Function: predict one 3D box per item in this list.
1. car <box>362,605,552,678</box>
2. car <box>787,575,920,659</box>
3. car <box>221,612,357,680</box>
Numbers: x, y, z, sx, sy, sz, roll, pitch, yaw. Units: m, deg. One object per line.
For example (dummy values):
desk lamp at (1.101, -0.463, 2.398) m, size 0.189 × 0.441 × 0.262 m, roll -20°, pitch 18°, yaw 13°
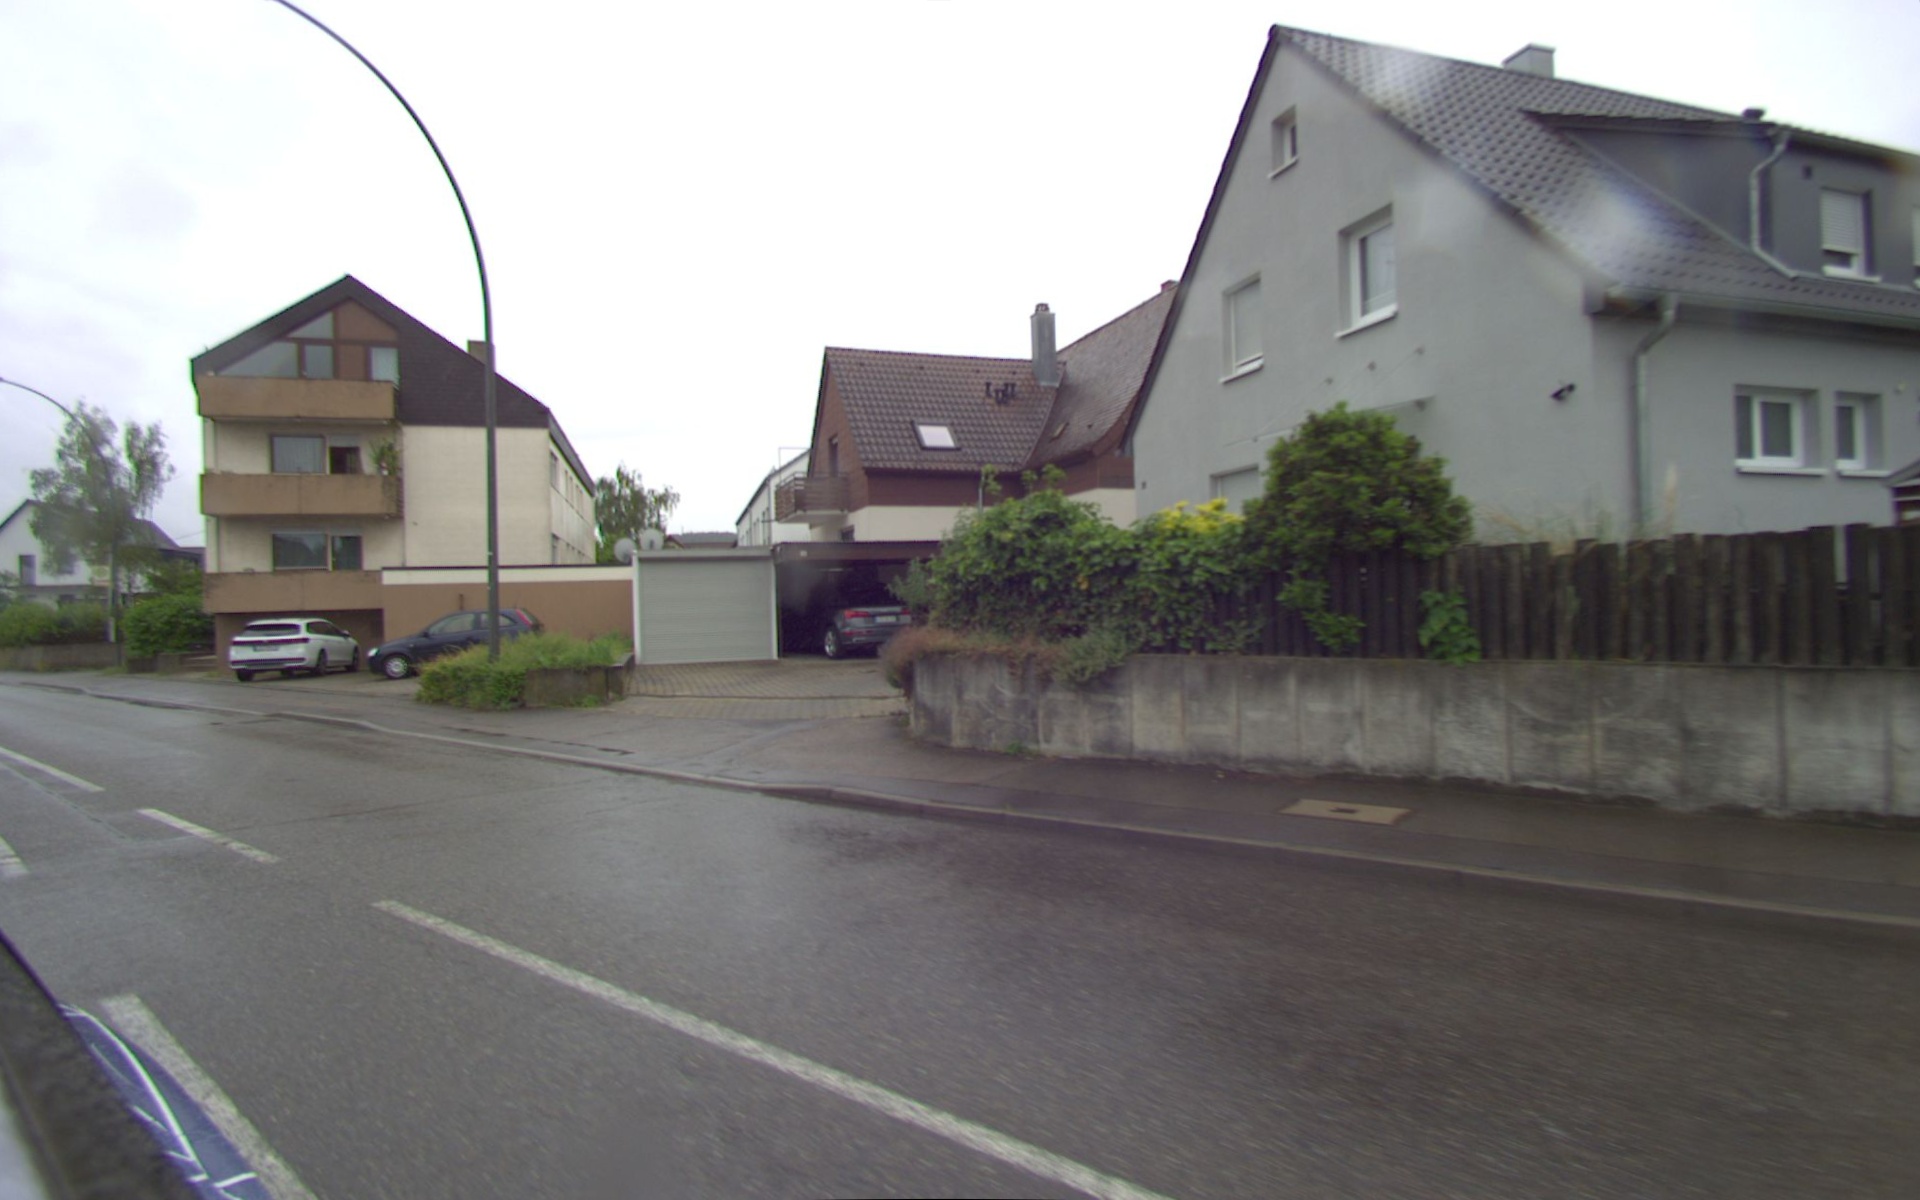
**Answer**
car at (-11.395, 0.907, 23.172) m, size 3.609 × 1.530 × 1.759 m, roll -1°, pitch 0°, yaw -15°
car at (-2.504, 0.301, 22.921) m, size 1.808 × 1.686 × 3.875 m, roll -1°, pitch 2°, yaw -25°
car at (-16.919, 1.094, 25.746) m, size 1.837 × 1.530 × 4.012 m, roll -1°, pitch 0°, yaw -17°
